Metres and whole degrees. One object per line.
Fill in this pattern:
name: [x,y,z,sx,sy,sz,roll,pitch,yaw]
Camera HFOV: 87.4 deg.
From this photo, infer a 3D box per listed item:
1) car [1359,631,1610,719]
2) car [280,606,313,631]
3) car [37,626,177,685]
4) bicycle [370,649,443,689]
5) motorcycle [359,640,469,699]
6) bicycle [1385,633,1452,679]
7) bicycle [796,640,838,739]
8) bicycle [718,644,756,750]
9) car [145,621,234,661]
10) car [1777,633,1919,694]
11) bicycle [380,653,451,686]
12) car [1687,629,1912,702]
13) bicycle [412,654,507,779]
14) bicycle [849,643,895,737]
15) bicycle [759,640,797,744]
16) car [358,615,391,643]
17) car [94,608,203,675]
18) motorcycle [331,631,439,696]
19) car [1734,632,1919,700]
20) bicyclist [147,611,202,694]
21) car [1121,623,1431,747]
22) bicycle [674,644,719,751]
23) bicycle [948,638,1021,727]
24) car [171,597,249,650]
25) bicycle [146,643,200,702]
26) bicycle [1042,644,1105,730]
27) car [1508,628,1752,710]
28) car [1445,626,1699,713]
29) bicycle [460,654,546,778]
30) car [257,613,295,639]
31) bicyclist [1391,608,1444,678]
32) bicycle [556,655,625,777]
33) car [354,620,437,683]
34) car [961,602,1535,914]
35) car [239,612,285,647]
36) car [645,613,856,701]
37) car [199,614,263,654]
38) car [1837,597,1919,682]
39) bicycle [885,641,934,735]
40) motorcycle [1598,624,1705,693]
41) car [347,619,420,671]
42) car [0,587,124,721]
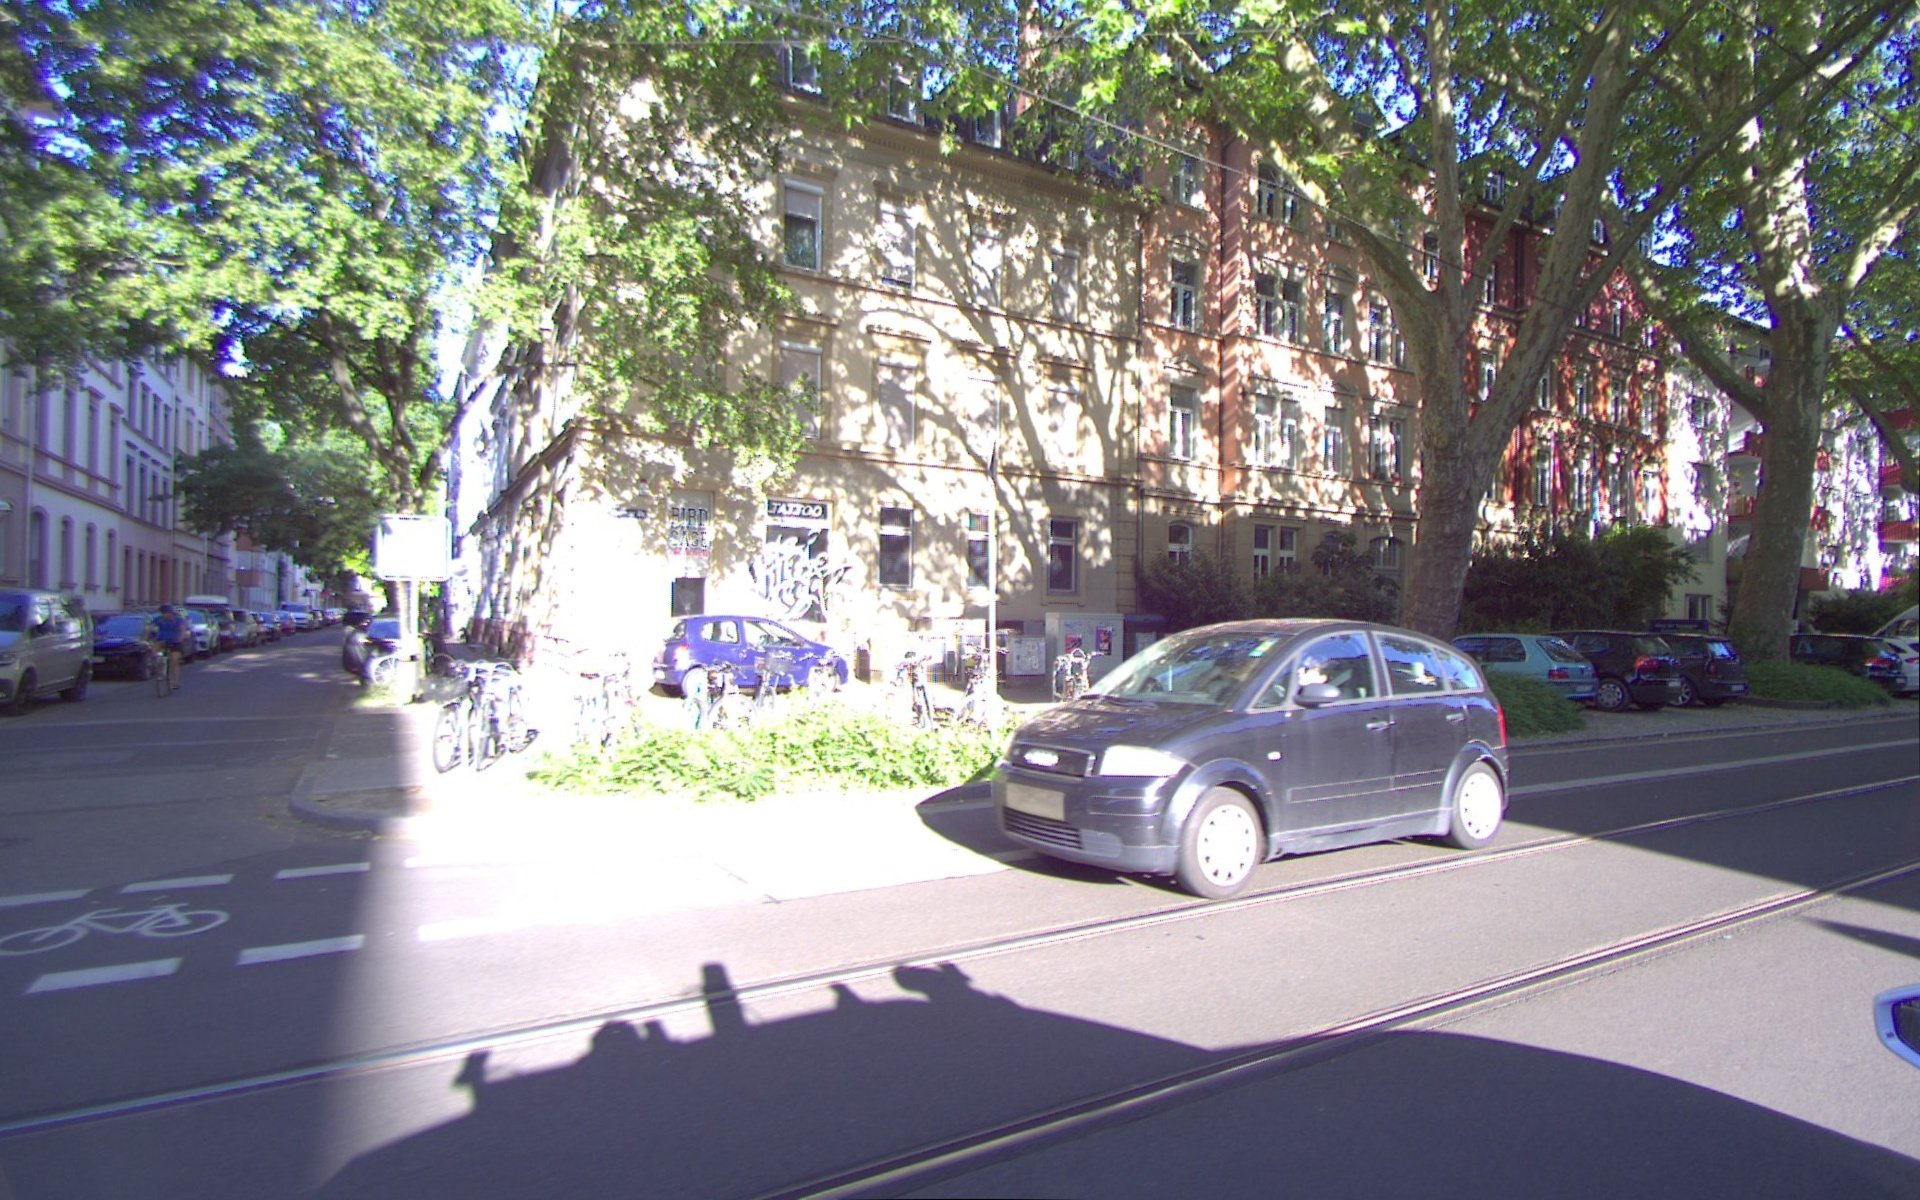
car: [9.614,1.311,18.731,1.585,1.387,3.970,1,-1,-28]
car: [-45.739,1.277,69.248,1.735,1.721,3.370,1,-1,-32]
car: [-19.619,1.255,23.254,1.735,1.193,3.373,4,-2,-28]
bicycle: [-12.518,1.551,22.747,1.435,0.871,0.395,1,-1,-29]
motorcycle: [-10.770,1.351,19.842,1.825,1.086,0.524,2,-1,-44]
bicycle: [11.980,1.454,26.236,1.759,1.154,0.738,1,-1,-31]
bicycle: [-1.759,1.051,12.259,0.389,1.102,1.560,1,-1,-12]
bicycle: [-2.575,1.088,11.674,0.389,1.102,1.560,1,-1,-12]
car: [-24.638,1.290,32.238,1.735,1.193,3.373,1,-1,-29]
car: [24.249,1.645,26.535,1.683,1.451,3.794,1,-1,-28]
bicycle: [-12.700,1.621,23.436,1.435,0.742,0.395,1,-1,-29]
car: [19.899,1.493,23.983,1.684,1.479,3.777,1,0,-29]
bicycle: [-5.108,1.138,10.344,0.389,1.102,1.858,1,-1,-12]
bicycle: [-1.147,1.118,12.896,0.389,1.102,1.560,1,-1,-12]
bicycle: [-2.146,1.040,11.779,0.389,1.102,1.560,1,-1,-12]
car: [-33.722,1.671,57.836,1.589,1.572,3.289,1,-1,-31]
car: [-22.146,1.093,27.541,1.735,1.715,3.151,1,-1,-29]
motorcycle: [-11.734,1.282,20.556,1.850,1.278,0.586,1,-1,-25]
car: [22.148,1.598,25.178,1.808,1.516,3.970,1,-1,-29]
bicyclist: [-15.198,1.000,19.462,0.728,1.546,0.861,1,-1,-33]
car: [4.278,1.091,14.189,1.857,1.479,3.968,3,-2,-30]
bicycle: [-3.003,1.072,11.506,0.389,1.102,1.560,1,-1,-12]
bicycle: [0.304,1.102,13.880,0.587,1.102,1.921,1,-1,-12]
car: [-27.078,0.836,36.351,1.735,1.812,3.373,1,-1,-29]
bicycle: [-15.262,1.373,19.507,0.621,1.045,1.860,1,-1,-32]
bicycle: [1.553,1.169,13.940,0.586,1.057,1.806,1,-1,-2]
car: [13.877,1.370,21.047,1.683,1.479,3.971,1,-1,-28]
car: [11.917,1.288,19.831,1.748,1.479,3.971,1,-1,-28]
bicycle: [-4.705,1.149,10.428,0.389,1.102,1.858,1,-1,-12]
car: [-40.824,1.522,60.008,1.644,1.500,3.370,1,-1,-32]
bicyclist: [11.925,1.106,26.177,1.036,1.786,0.826,1,-1,-31]
bicycle: [-3.870,1.165,10.602,0.389,1.102,1.858,1,-1,-12]
car: [-14.558,1.281,26.009,1.735,1.483,3.373,1,-1,-29]
car: [1.973,0.857,6.638,3.651,1.529,1.627,1,-3,-32]
car: [-35.372,1.497,50.930,1.524,1.717,3.137,1,-1,-29]
car: [-3.819,1.007,18.472,3.452,1.479,1.589,2,-1,-33]
car: [-29.520,1.352,40.744,1.597,1.514,3.582,1,-1,-28]
car: [30.229,1.205,29.991,2.136,2.570,5.715,1,0,-29]
bicycle: [-0.669,1.105,12.986,0.389,1.102,1.560,1,-1,-12]
motorcycle: [17.705,1.483,25.688,2.977,1.653,1.047,2,0,-31]
car: [-17.060,1.298,29.858,1.735,1.429,3.885,1,-1,-28]
car: [-15.551,0.747,16.095,2.101,1.905,4.558,4,-2,-25]
